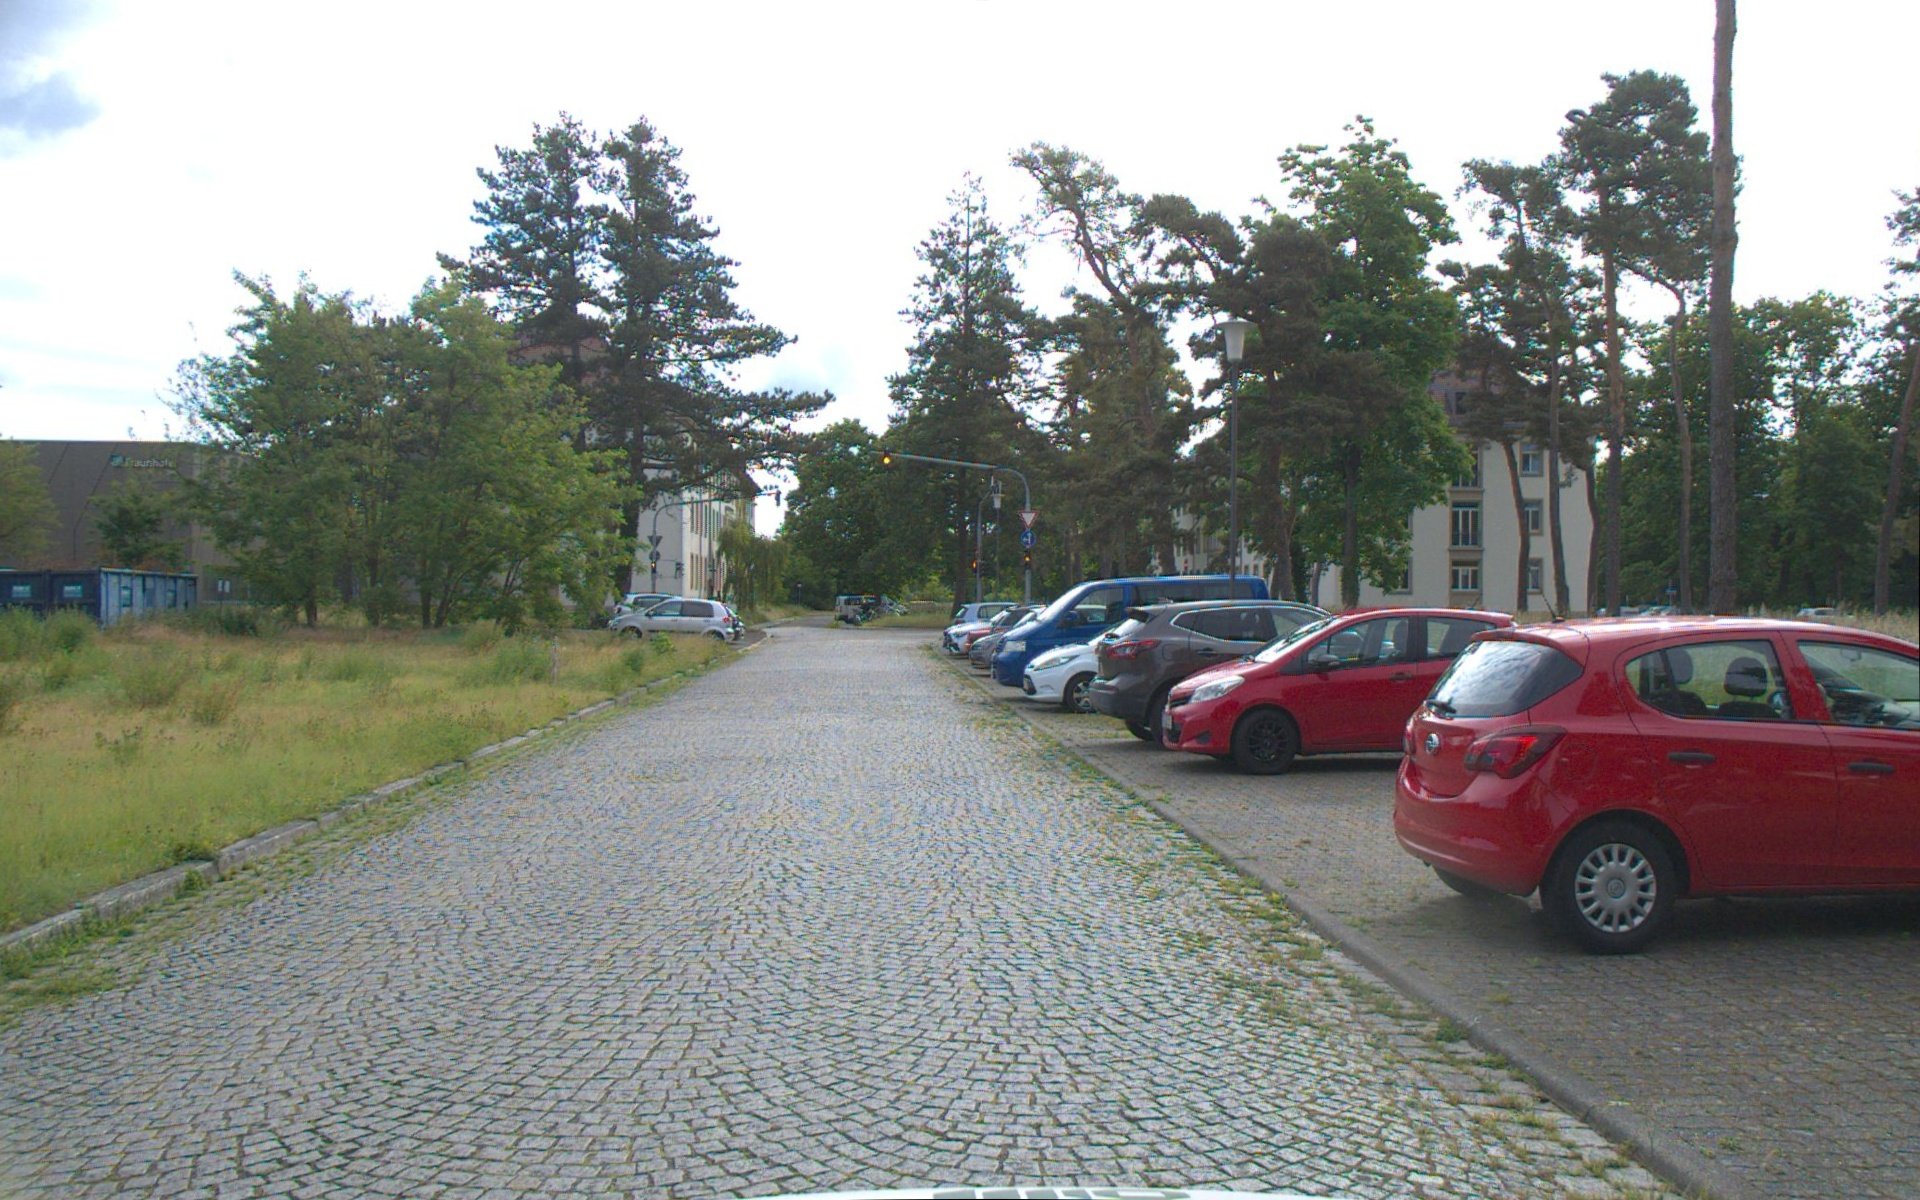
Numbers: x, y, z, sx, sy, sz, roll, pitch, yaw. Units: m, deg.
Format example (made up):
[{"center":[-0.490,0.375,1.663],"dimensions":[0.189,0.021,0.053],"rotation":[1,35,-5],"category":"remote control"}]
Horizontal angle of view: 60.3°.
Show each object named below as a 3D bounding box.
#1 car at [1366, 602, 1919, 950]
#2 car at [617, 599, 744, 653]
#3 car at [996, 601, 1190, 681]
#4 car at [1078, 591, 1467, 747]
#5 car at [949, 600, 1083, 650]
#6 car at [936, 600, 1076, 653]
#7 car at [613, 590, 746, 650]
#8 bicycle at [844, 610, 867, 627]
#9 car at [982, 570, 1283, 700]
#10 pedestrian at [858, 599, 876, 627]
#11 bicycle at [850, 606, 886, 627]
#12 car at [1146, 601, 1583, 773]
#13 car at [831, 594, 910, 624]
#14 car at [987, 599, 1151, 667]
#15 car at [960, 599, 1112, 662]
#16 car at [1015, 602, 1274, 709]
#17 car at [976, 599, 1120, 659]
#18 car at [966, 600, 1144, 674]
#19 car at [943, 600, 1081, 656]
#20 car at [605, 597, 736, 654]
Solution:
[{"center":[4.178,0.772,8.358],"dimensions":[3.751,1.486,1.777],"rotation":[-1,0,-5],"category":"car"},{"center":[-8.732,0.802,51.885],"dimensions":[3.746,1.600,1.563],"rotation":[-1,0,-5],"category":"car"},{"center":[2.601,0.801,32.777],"dimensions":[3.601,1.475,1.522],"rotation":[-1,0,-6],"category":"car"},{"center":[3.432,0.732,18.564],"dimensions":[3.951,1.580,1.748],"rotation":[-1,0,-6],"category":"car"},{"center":[1.714,0.758,51.264],"dimensions":[3.894,1.446,1.617],"rotation":[-1,0,-8],"category":"car"},{"center":[1.325,0.769,48.582],"dimensions":[3.894,1.446,1.617],"rotation":[-1,0,-8],"category":"car"},{"center":[-9.264,0.643,54.841],"dimensions":[4.178,1.873,1.742],"rotation":[-1,0,-5],"category":"car"},{"center":[-6.038,1.073,95.656],"dimensions":[0.614,0.961,1.645],"rotation":[1,0,-31],"category":"bicycle"},{"center":[2.804,0.560,27.506],"dimensions":[4.662,1.989,1.929],"rotation":[-1,0,-6],"category":"car"},{"center":[-5.625,0.768,99.809],"dimensions":[1.014,1.642,0.756],"rotation":[1,-1,-10],"category":"pedestrian"},{"center":[-5.516,0.995,99.438],"dimensions":[2.098,1.236,0.620],"rotation":[1,-1,-10],"category":"bicycle"},{"center":[3.798,0.789,15.934],"dimensions":[3.717,1.486,1.750],"rotation":[-1,0,-4],"category":"car"},{"center":[-6.384,0.618,117.650],"dimensions":[5.351,2.049,2.261],"rotation":[1,0,-13],"category":"car"},{"center":[2.504,0.764,38.548],"dimensions":[3.601,1.475,1.522],"rotation":[-1,0,-6],"category":"car"},{"center":[1.863,0.746,41.214],"dimensions":[3.601,1.475,1.522],"rotation":[-1,0,-6],"category":"car"},{"center":[2.729,0.811,24.902],"dimensions":[3.601,1.475,1.612],"rotation":[-1,0,-6],"category":"car"},{"center":[2.293,0.758,43.532],"dimensions":[3.601,1.475,1.522],"rotation":[-1,0,-6],"category":"car"},{"center":[2.010,0.772,35.520],"dimensions":[3.601,1.475,1.522],"rotation":[-1,0,-6],"category":"car"},{"center":[1.423,0.758,45.728],"dimensions":[3.603,1.446,1.521],"rotation":[-1,0,-8],"category":"car"},{"center":[-8.619,0.758,49.472],"dimensions":[3.749,1.600,1.562],"rotation":[-1,0,-7],"category":"car"}]
